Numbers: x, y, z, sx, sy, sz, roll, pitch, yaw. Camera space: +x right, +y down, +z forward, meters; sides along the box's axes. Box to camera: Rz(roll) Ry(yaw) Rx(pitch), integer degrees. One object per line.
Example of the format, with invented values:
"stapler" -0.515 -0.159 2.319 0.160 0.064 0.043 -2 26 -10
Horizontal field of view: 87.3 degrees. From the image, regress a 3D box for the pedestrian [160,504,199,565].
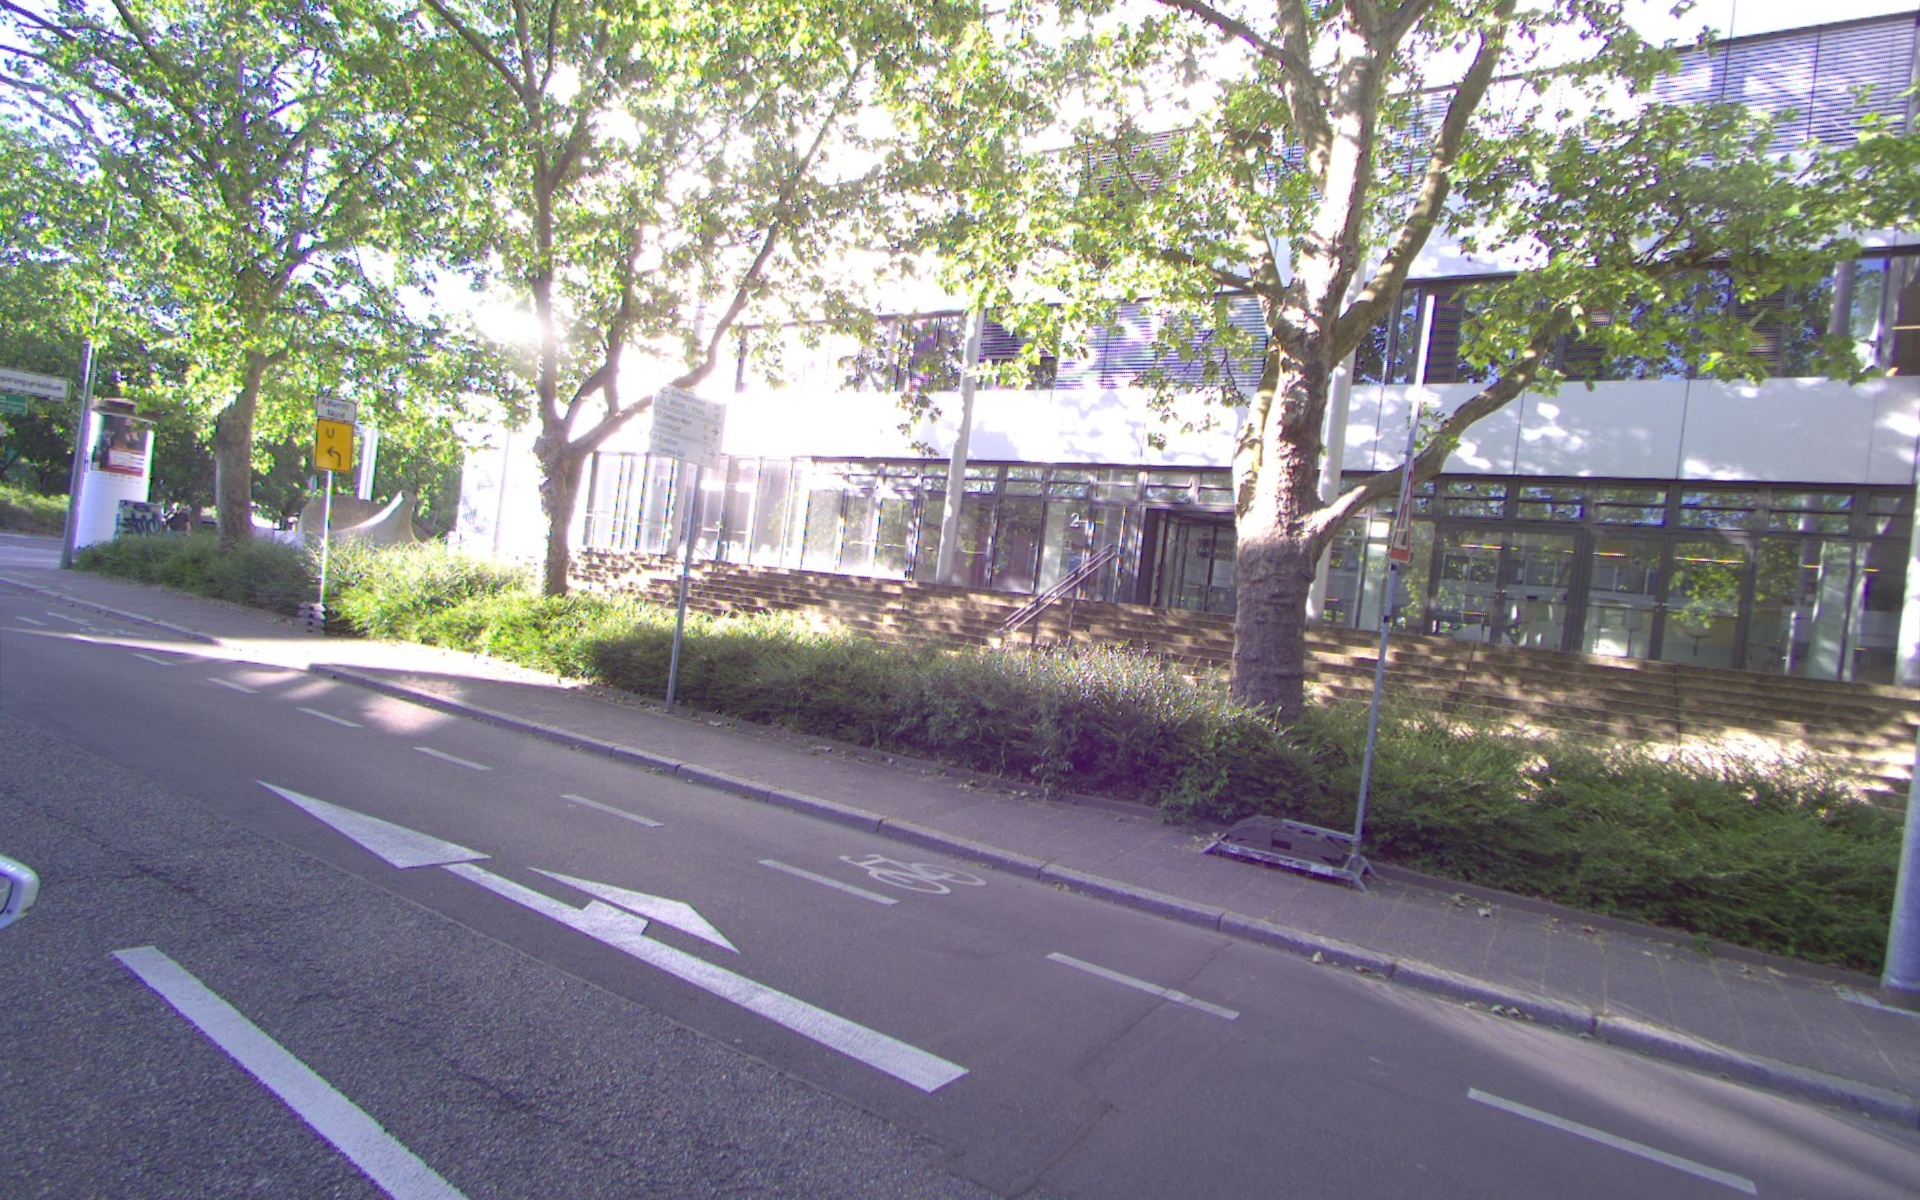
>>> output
"pedestrian" -24.464 -2.058 31.536 0.733 1.799 0.721 8 -1 -42
